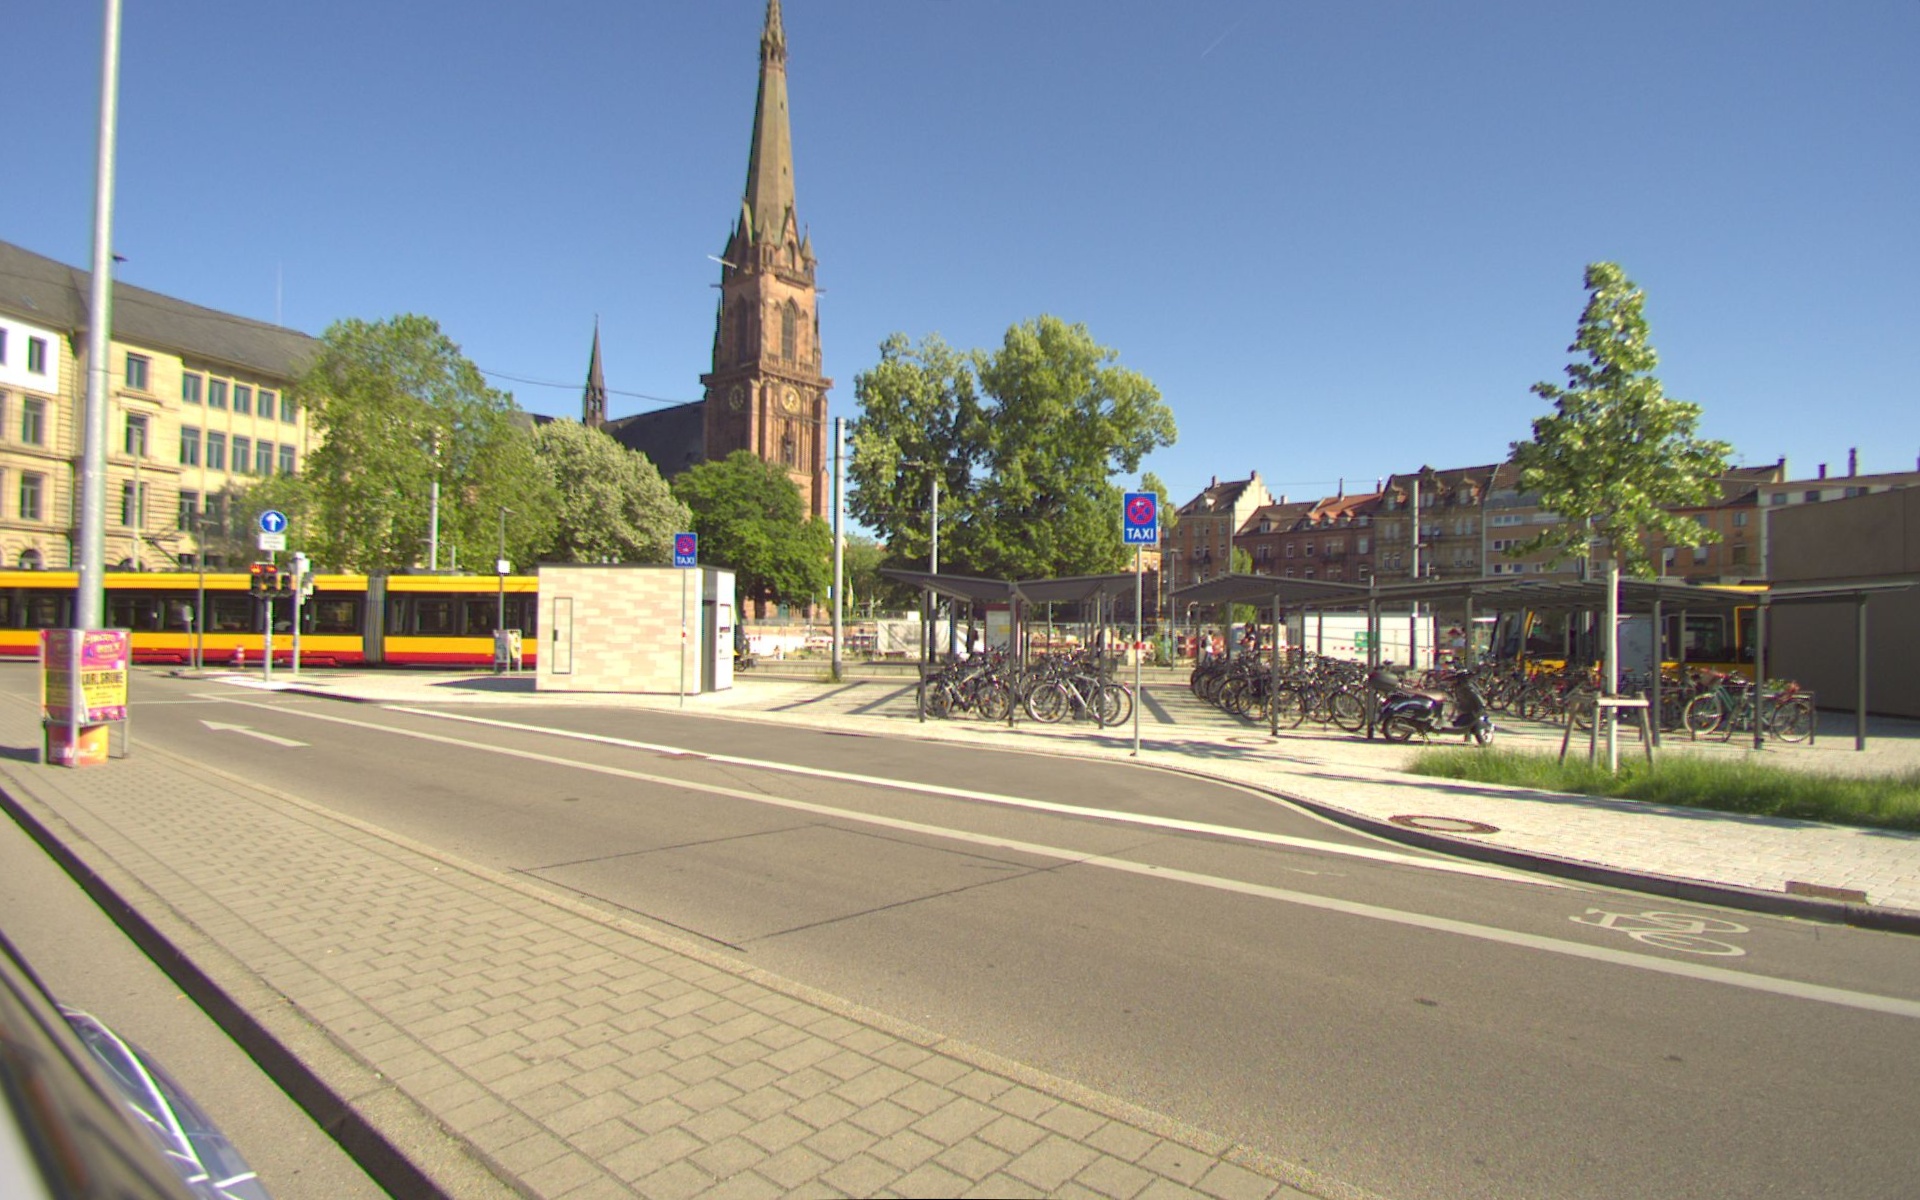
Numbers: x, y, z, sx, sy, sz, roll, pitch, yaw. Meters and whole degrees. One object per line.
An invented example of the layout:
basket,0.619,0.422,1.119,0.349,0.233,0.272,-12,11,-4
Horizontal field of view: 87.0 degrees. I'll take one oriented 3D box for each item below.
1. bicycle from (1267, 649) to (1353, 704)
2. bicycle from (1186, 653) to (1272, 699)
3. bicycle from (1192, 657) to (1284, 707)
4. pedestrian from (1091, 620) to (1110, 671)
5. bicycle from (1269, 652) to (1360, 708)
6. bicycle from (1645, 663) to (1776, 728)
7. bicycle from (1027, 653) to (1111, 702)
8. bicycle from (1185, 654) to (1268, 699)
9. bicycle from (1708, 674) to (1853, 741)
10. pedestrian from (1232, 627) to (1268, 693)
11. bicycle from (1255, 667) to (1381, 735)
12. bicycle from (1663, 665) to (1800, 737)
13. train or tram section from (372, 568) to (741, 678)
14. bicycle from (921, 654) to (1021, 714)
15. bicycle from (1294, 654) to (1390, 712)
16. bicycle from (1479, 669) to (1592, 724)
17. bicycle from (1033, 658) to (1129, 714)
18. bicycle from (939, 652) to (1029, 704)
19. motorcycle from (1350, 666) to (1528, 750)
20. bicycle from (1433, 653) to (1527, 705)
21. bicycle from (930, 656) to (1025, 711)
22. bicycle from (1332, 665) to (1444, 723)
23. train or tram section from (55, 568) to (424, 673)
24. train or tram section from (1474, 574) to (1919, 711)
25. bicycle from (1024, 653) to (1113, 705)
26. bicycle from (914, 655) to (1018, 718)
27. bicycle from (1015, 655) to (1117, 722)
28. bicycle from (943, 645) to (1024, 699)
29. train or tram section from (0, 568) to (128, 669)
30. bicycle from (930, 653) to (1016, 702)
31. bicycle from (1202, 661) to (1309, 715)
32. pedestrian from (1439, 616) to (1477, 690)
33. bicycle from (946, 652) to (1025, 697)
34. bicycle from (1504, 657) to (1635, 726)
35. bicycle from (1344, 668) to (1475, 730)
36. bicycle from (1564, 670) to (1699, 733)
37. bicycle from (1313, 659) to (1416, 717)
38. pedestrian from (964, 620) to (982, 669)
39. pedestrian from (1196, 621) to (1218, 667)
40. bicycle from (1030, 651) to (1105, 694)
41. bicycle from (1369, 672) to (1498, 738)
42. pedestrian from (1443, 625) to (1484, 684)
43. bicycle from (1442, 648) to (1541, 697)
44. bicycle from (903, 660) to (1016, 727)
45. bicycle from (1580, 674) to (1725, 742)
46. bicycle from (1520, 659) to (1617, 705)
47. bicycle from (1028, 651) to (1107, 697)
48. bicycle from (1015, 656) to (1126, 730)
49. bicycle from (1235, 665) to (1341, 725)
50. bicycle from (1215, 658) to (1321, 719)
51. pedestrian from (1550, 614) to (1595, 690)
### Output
bicycle,8.236,1.791,23.879,1.808,1.242,0.627,0,-2,7
bicycle,6.121,1.727,23.114,1.807,1.015,0.628,0,-2,5
bicycle,5.969,1.763,21.809,1.805,1.015,0.629,0,-2,0
pedestrian,5.137,1.661,37.035,0.673,1.869,0.604,0,-2,6
bicycle,7.928,1.773,22.681,1.808,1.198,0.647,0,-2,7
bicycle,13.590,1.722,18.363,1.808,1.101,0.627,0,-2,7
bicycle,2.377,1.693,22.126,1.808,1.015,0.627,0,-2,7
bicycle,6.251,1.792,23.802,1.808,1.015,0.627,0,-2,6
bicycle,13.020,1.701,16.080,1.803,1.015,0.629,1,-2,-3
pedestrian,7.466,1.527,26.070,0.762,1.672,0.604,0,-2,4
bicycle,5.977,1.682,16.982,1.871,1.050,0.688,0,-2,9
bicycle,12.991,1.694,17.067,1.805,1.155,0.629,0,-2,0
train or tram section,-14.115,0.791,35.767,12.174,3.628,2.828,0,-2,6
bicycle,0.212,1.550,18.769,1.809,1.059,0.571,0,-2,9
bicycle,8.110,1.752,21.531,1.808,1.170,0.627,0,-2,7
bicycle,11.261,1.879,19.844,1.809,1.015,0.627,0,-2,9
bicycle,2.320,1.641,19.544,1.808,1.015,0.745,0,-2,7
bicycle,0.512,1.621,21.143,1.809,1.015,0.627,0,-2,9
motorcycle,7.168,1.610,15.237,2.333,1.167,0.610,0,-2,7
bicycle,12.000,1.820,23.406,1.809,1.140,0.627,0,-2,9
bicycle,0.360,1.641,19.988,1.809,1.015,0.627,0,-2,9
bicycle,8.000,1.755,18.974,1.808,1.015,0.627,0,-2,7
train or tram section,-26.232,0.735,37.053,12.174,3.628,2.796,0,-2,6
train or tram section,21.517,1.148,28.631,12.179,3.628,2.748,0,-2,7
bicycle,2.228,1.615,20.852,1.808,1.015,0.627,0,-2,7
bicycle,0.116,1.544,18.240,1.809,1.074,0.627,0,-2,9
bicycle,1.909,1.583,18.279,1.808,1.157,0.627,0,-2,7
bicycle,0.561,1.653,23.418,1.809,1.188,0.627,0,-2,9
train or tram section,-38.474,0.683,38.356,12.382,3.628,2.796,0,-2,6
bicycle,0.289,1.697,22.174,1.809,1.015,0.627,0,-2,9
bicycle,5.948,1.767,20.434,1.978,1.015,0.628,0,-2,4
pedestrian,12.917,1.364,26.244,0.595,1.869,0.683,2,-2,-38
bicycle,0.619,1.757,24.118,1.809,1.015,0.627,0,-2,9
bicycle,11.297,1.693,18.805,2.029,1.218,0.505,0,-2,8
bicycle,7.919,1.736,17.880,2.003,1.015,0.627,0,-2,7
bicycle,11.603,1.748,17.529,1.872,1.004,0.499,0,-2,13
bicycle,8.074,1.753,20.265,1.808,1.088,0.627,0,-2,7
pedestrian,0.491,1.703,39.075,0.671,1.869,0.605,0,-2,-1
pedestrian,11.108,1.965,45.530,0.861,2.029,0.749,0,-2,5
bicycle,2.632,1.765,24.812,1.808,1.015,0.627,0,-2,7
bicycle,7.767,1.710,16.654,1.808,1.015,0.627,0,-2,7
pedestrian,17.664,1.909,35.512,0.997,2.029,0.872,0,-2,0
bicycle,11.687,1.583,22.310,1.809,1.015,0.627,0,-2,9
bicycle,0.005,1.589,17.374,1.847,1.015,0.699,2,-2,9
bicycle,11.158,1.728,16.352,1.809,1.015,0.627,0,-2,9
bicycle,14.052,1.887,23.409,1.808,1.015,0.627,0,-2,7
bicycle,2.510,1.709,23.613,1.808,1.015,0.627,0,-2,7
bicycle,1.864,1.562,17.137,1.808,1.167,0.627,1,-2,7
bicycle,5.852,1.691,18.135,1.731,1.015,0.547,0,-2,10
bicycle,5.876,1.688,19.413,1.859,1.101,0.626,0,-2,8
pedestrian,15.401,1.297,25.442,0.700,1.869,0.751,2,-2,-38
